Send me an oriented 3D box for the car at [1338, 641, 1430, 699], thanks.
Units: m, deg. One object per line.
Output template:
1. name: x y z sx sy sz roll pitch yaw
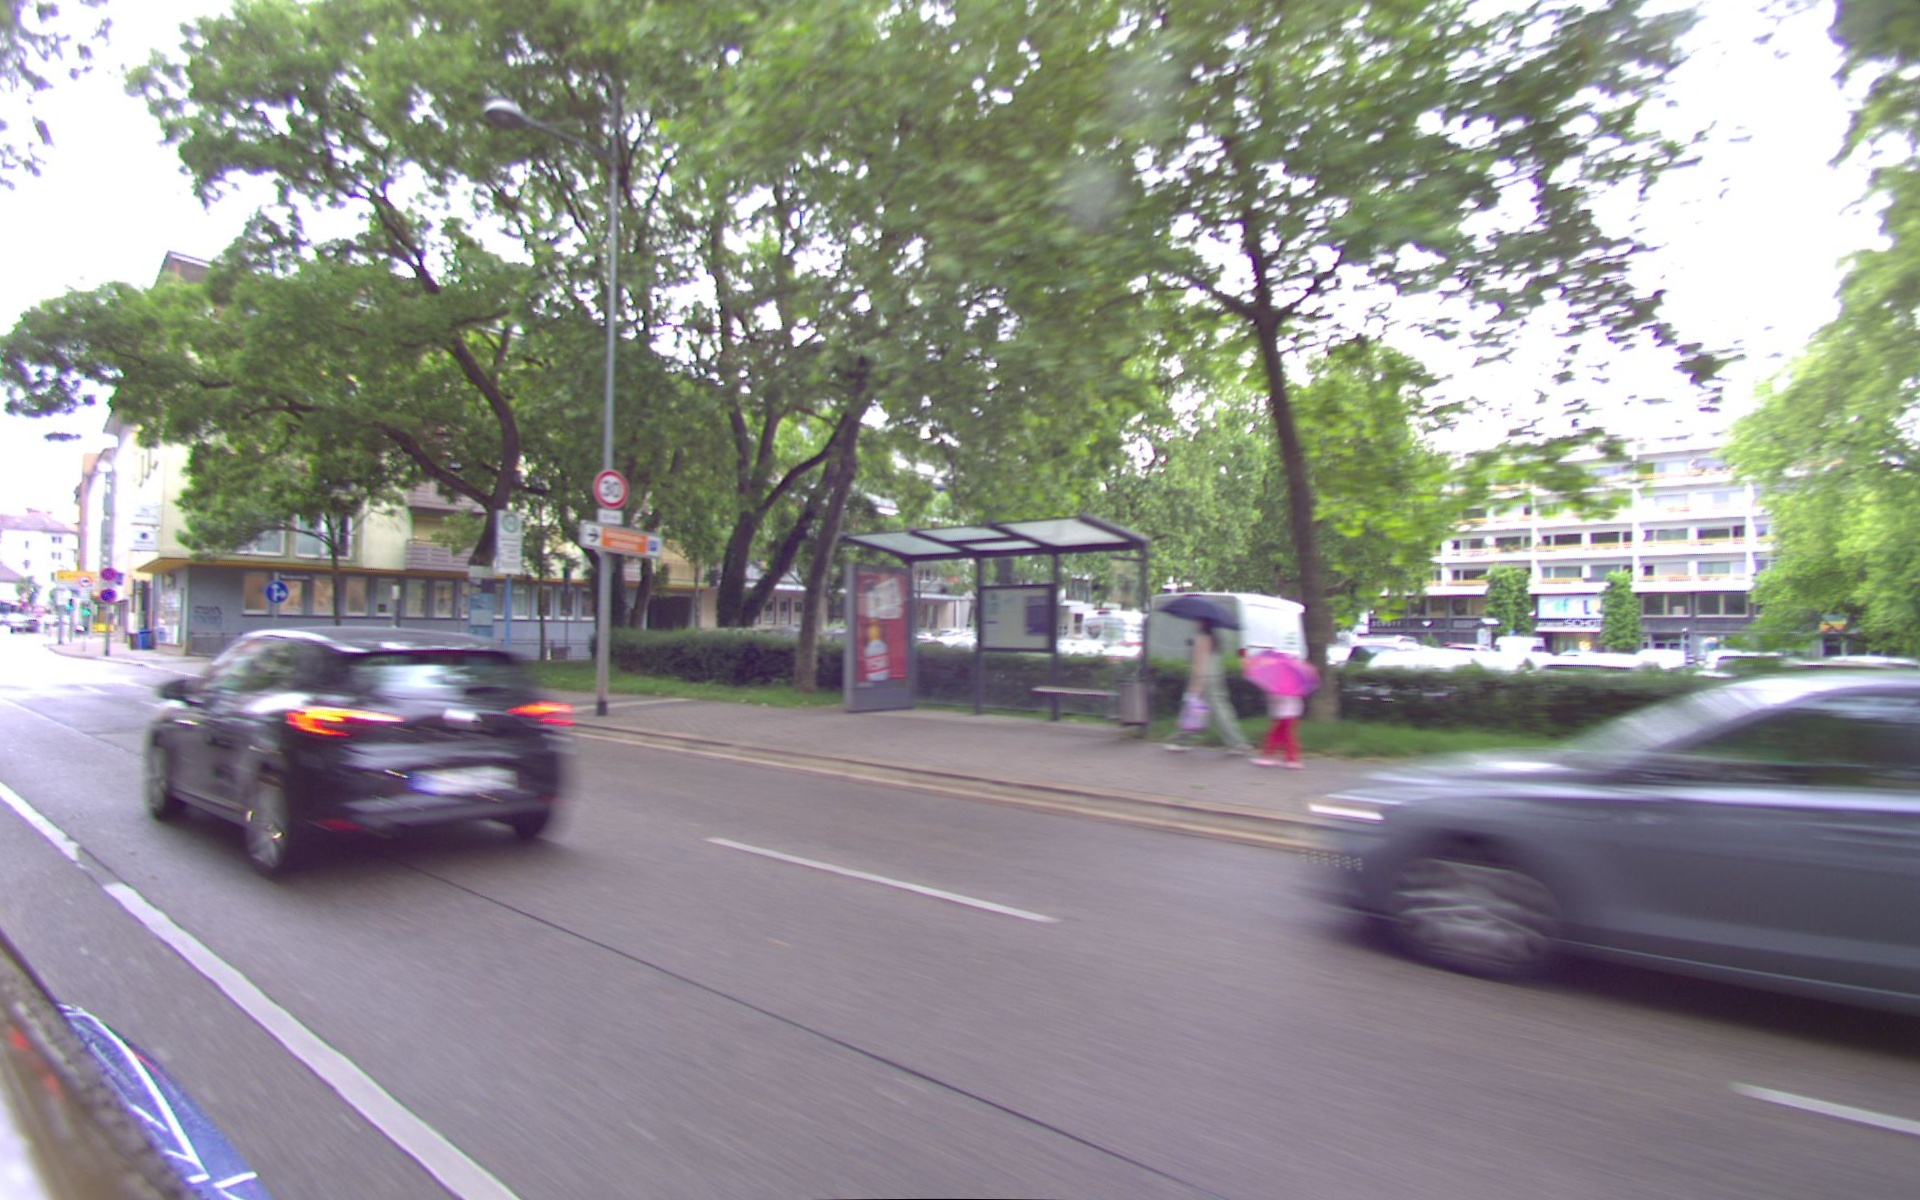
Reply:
1. car: 11.491 1.862 27.340 1.391 1.446 3.228 -1 -4 40

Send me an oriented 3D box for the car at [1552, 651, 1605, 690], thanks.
1. car: 23.479 2.660 38.393 1.346 1.394 3.125 -1 -3 39

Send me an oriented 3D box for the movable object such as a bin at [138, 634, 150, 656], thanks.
1. movable object such as a bin: -40.463 2.230 50.203 0.409 1.037 0.354 4 -4 -43

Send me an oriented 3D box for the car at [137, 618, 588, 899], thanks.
1. car: -4.196 0.870 6.925 3.452 1.426 1.607 -1 -3 41

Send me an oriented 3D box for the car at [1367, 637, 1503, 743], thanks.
1. car: 8.339 1.486 17.664 1.506 1.536 3.161 0 0 38

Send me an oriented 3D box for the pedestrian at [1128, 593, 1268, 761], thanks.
1. pedestrian: 2.666 0.811 11.344 1.208 1.755 0.982 -1 -1 40

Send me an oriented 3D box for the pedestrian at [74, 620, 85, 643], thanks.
1. pedestrian: -74.011 2.645 85.081 0.586 1.858 0.565 4 -4 -42

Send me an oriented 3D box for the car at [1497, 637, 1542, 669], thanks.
1. car: 29.748 2.777 53.740 1.638 1.536 3.161 0 0 38

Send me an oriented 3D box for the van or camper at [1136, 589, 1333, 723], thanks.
1. van or camper: 5.261 1.021 18.974 2.045 2.186 4.439 -1 -3 37

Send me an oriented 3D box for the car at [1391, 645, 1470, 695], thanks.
1. car: 14.631 2.153 31.408 1.391 1.446 3.228 -1 -4 40

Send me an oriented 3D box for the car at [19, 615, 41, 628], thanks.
1. car: -123.926 2.859 134.788 4.001 1.670 1.842 -2 -4 44

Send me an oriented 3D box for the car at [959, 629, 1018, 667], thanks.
1. car: 1.670 2.735 57.286 1.987 2.029 3.968 0 -3 23

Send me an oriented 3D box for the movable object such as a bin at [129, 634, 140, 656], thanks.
1. movable object such as a bin: -40.687 2.219 49.887 0.333 1.037 0.354 4 -4 -42

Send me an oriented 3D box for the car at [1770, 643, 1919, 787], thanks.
1. car: 11.790 1.417 13.459 1.506 1.536 3.161 0 0 38

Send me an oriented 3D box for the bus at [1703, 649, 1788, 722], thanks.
1. bus: 17.084 1.817 21.990 1.379 1.444 2.762 -1 -3 39

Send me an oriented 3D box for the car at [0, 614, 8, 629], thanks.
1. car: -126.753 2.816 133.174 4.001 1.866 1.971 -2 -4 44

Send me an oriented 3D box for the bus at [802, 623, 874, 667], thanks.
1. bus: -5.655 2.114 47.328 1.703 1.939 3.698 0 -3 23

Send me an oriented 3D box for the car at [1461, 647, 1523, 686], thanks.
1. car: 21.169 2.632 40.242 1.604 1.439 3.275 -1 -3 39

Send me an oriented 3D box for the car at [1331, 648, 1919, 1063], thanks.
1. car: 3.910 0.969 4.322 4.026 1.428 1.790 -1 -4 39

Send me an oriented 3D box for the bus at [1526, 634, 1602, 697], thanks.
1. bus: 17.222 1.834 28.809 1.380 1.689 2.760 -1 -3 41

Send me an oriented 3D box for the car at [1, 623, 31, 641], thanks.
1. car: -93.609 3.133 100.328 4.001 1.730 1.863 -2 -4 44

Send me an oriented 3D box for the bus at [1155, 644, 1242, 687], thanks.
1. bus: 8.527 2.310 36.018 1.634 1.399 3.524 -1 -3 39

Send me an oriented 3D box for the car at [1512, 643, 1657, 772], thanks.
1. car: 9.294 1.484 14.966 1.506 1.536 3.161 0 0 38

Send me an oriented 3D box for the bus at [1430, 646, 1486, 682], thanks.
1. bus: 22.599 2.893 45.885 1.604 1.551 3.385 -1 -3 39

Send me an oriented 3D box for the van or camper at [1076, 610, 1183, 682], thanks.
1. van or camper: 6.458 1.737 38.157 2.096 2.556 4.369 -1 -3 39

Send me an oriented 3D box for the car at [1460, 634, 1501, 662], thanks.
1. car: 31.213 2.856 60.662 1.638 1.536 3.161 -1 0 38

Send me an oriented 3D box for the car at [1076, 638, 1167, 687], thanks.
1. car: 5.172 1.972 32.155 1.391 1.446 3.228 -1 -4 40

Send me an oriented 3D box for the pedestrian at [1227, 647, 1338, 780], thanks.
1. pedestrian: 3.130 1.069 9.819 0.826 1.183 0.677 -1 -1 40
